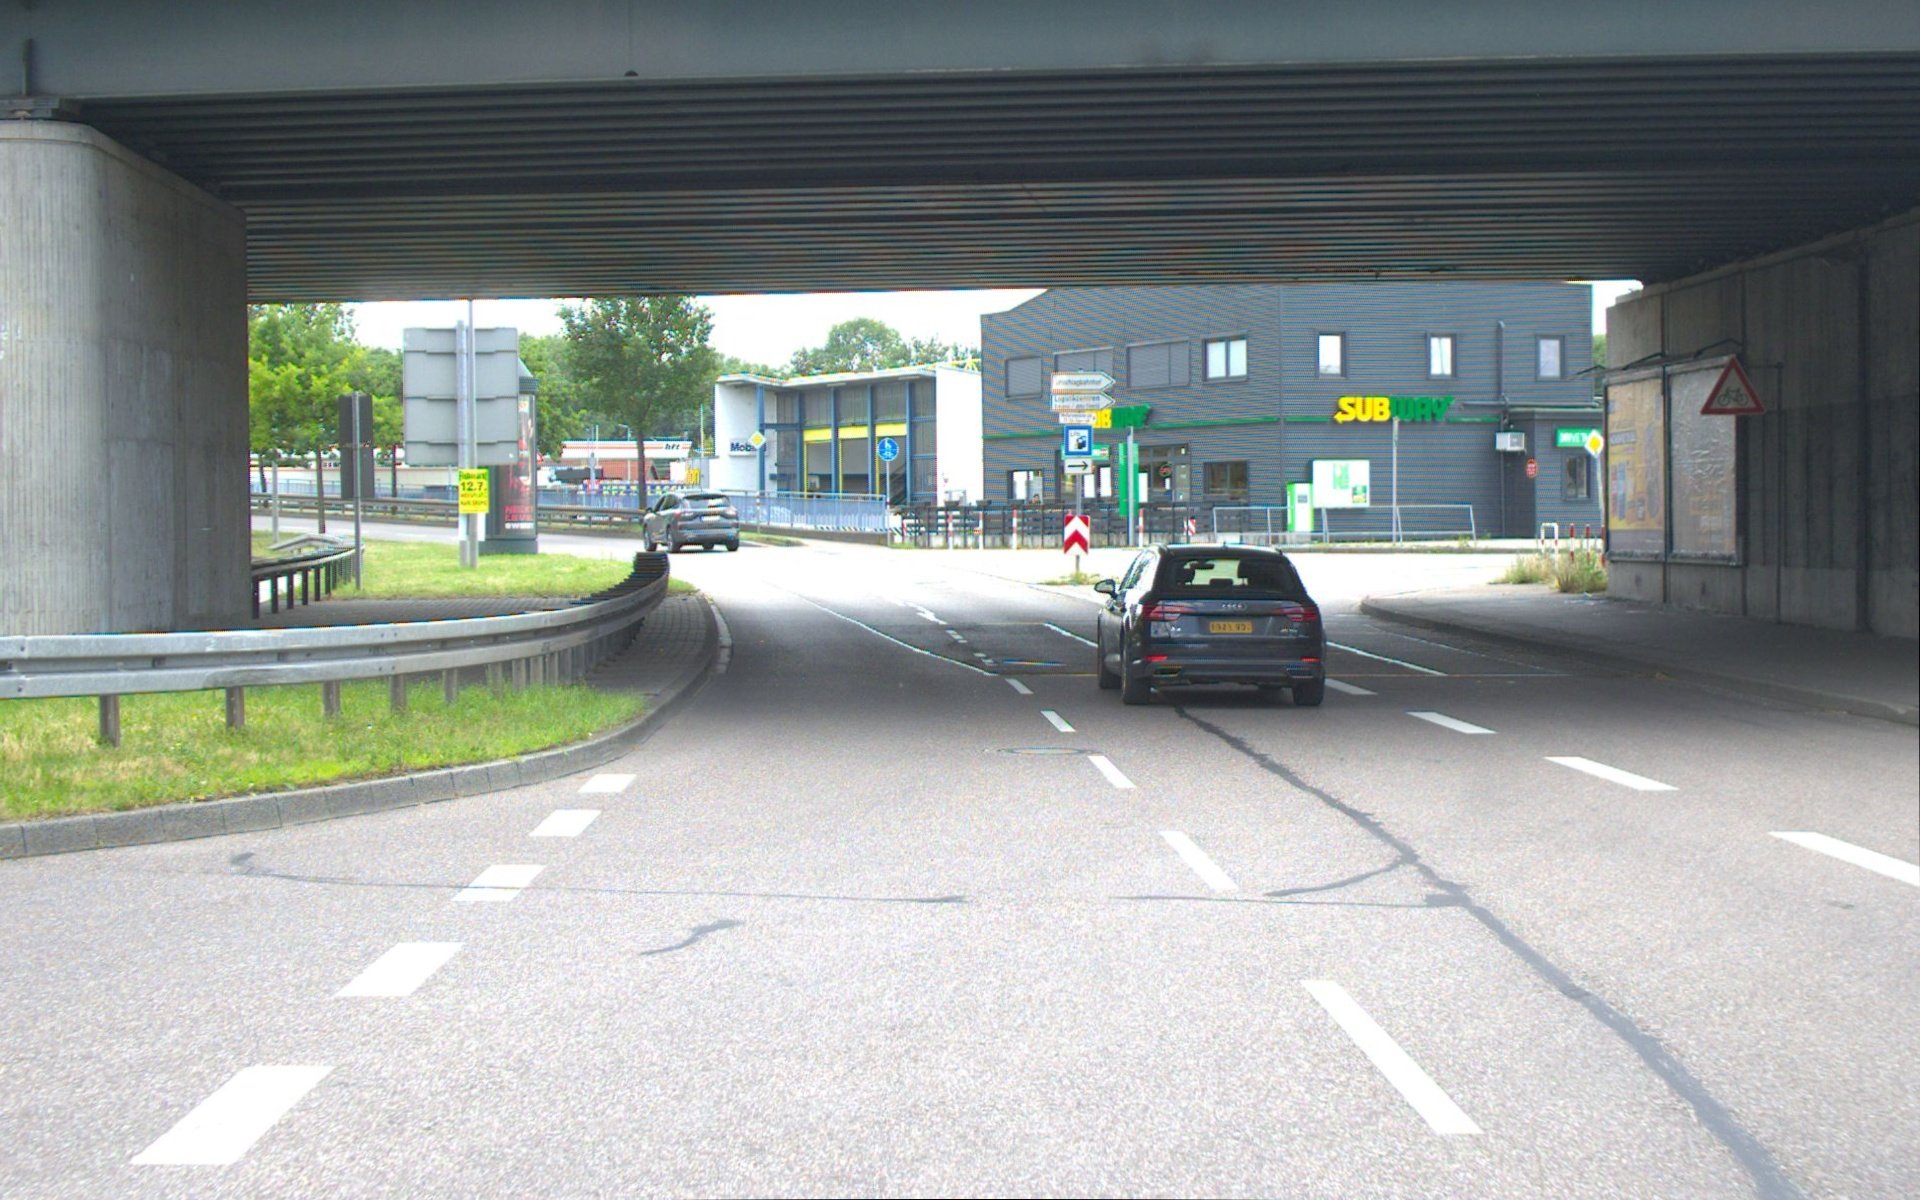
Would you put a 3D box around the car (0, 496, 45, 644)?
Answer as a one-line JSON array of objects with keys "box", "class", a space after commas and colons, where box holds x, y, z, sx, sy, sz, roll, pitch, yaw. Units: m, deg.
[{"box": [-12.405, -0.343, 40.809, 1.993, 1.753, 4.718, -1, 1, -3], "class": "car"}]

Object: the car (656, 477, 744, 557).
[{"box": [-6.959, -2.198, 91.513, 1.993, 2.030, 4.714, -1, 1, -8], "class": "car"}]

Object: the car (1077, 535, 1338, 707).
[{"box": [2.205, 0.139, 31.780, 1.993, 1.385, 4.576, 1, 2, -1], "class": "car"}]
